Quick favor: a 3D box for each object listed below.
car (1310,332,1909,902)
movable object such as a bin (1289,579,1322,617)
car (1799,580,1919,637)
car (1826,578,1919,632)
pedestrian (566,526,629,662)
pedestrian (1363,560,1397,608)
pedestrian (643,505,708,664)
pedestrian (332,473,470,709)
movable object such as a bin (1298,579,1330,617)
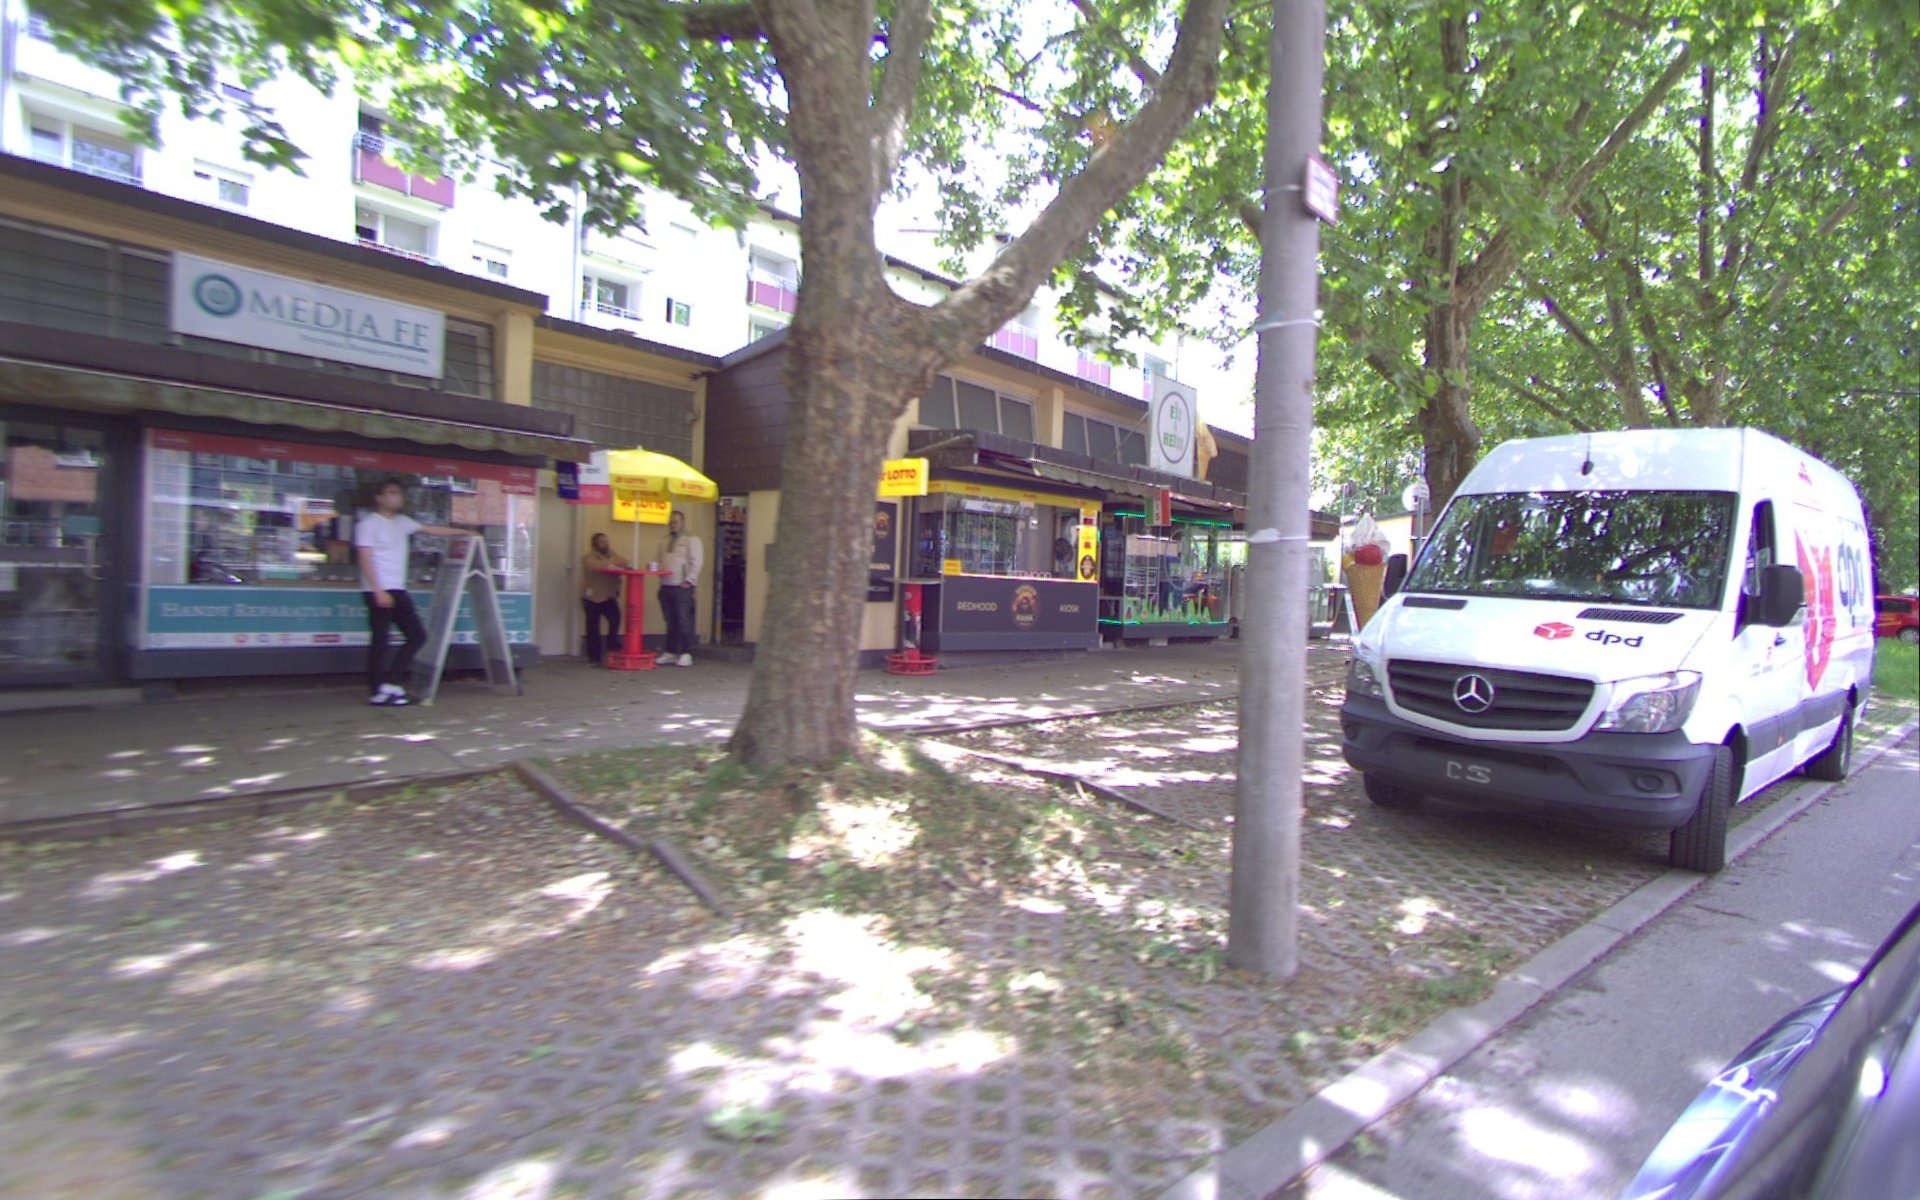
[{"bbox_3d":[5.297,0.033,7.580,6.715,2.612,1.908,0,3,-42],"label":"car"},{"bbox_3d":[9.603,-0.055,28.097,0.624,1.029,0.637,3,2,45],"label":"movable object such as a bin"},{"bbox_3d":[28.933,0.263,32.048,1.584,1.532,3.411,0,5,-45],"label":"car"},{"bbox_3d":[32.443,0.222,34.542,1.699,1.630,4.043,0,5,-38],"label":"car"},{"bbox_3d":[-4.142,-0.075,11.570,0.462,1.505,0.504,1,1,38],"label":"pedestrian"},{"bbox_3d":[14.013,-0.529,33.765,0.749,1.554,0.894,2,1,42],"label":"pedestrian"},{"bbox_3d":[-3.358,-0.187,11.946,0.516,1.816,0.527,1,1,39],"label":"pedestrian"},{"bbox_3d":[-4.580,-0.093,8.345,0.595,1.823,0.926,1,2,3],"label":"pedestrian"},{"bbox_3d":[10.050,-0.057,28.710,0.624,1.029,0.637,3,2,45],"label":"movable object such as a bin"}]
